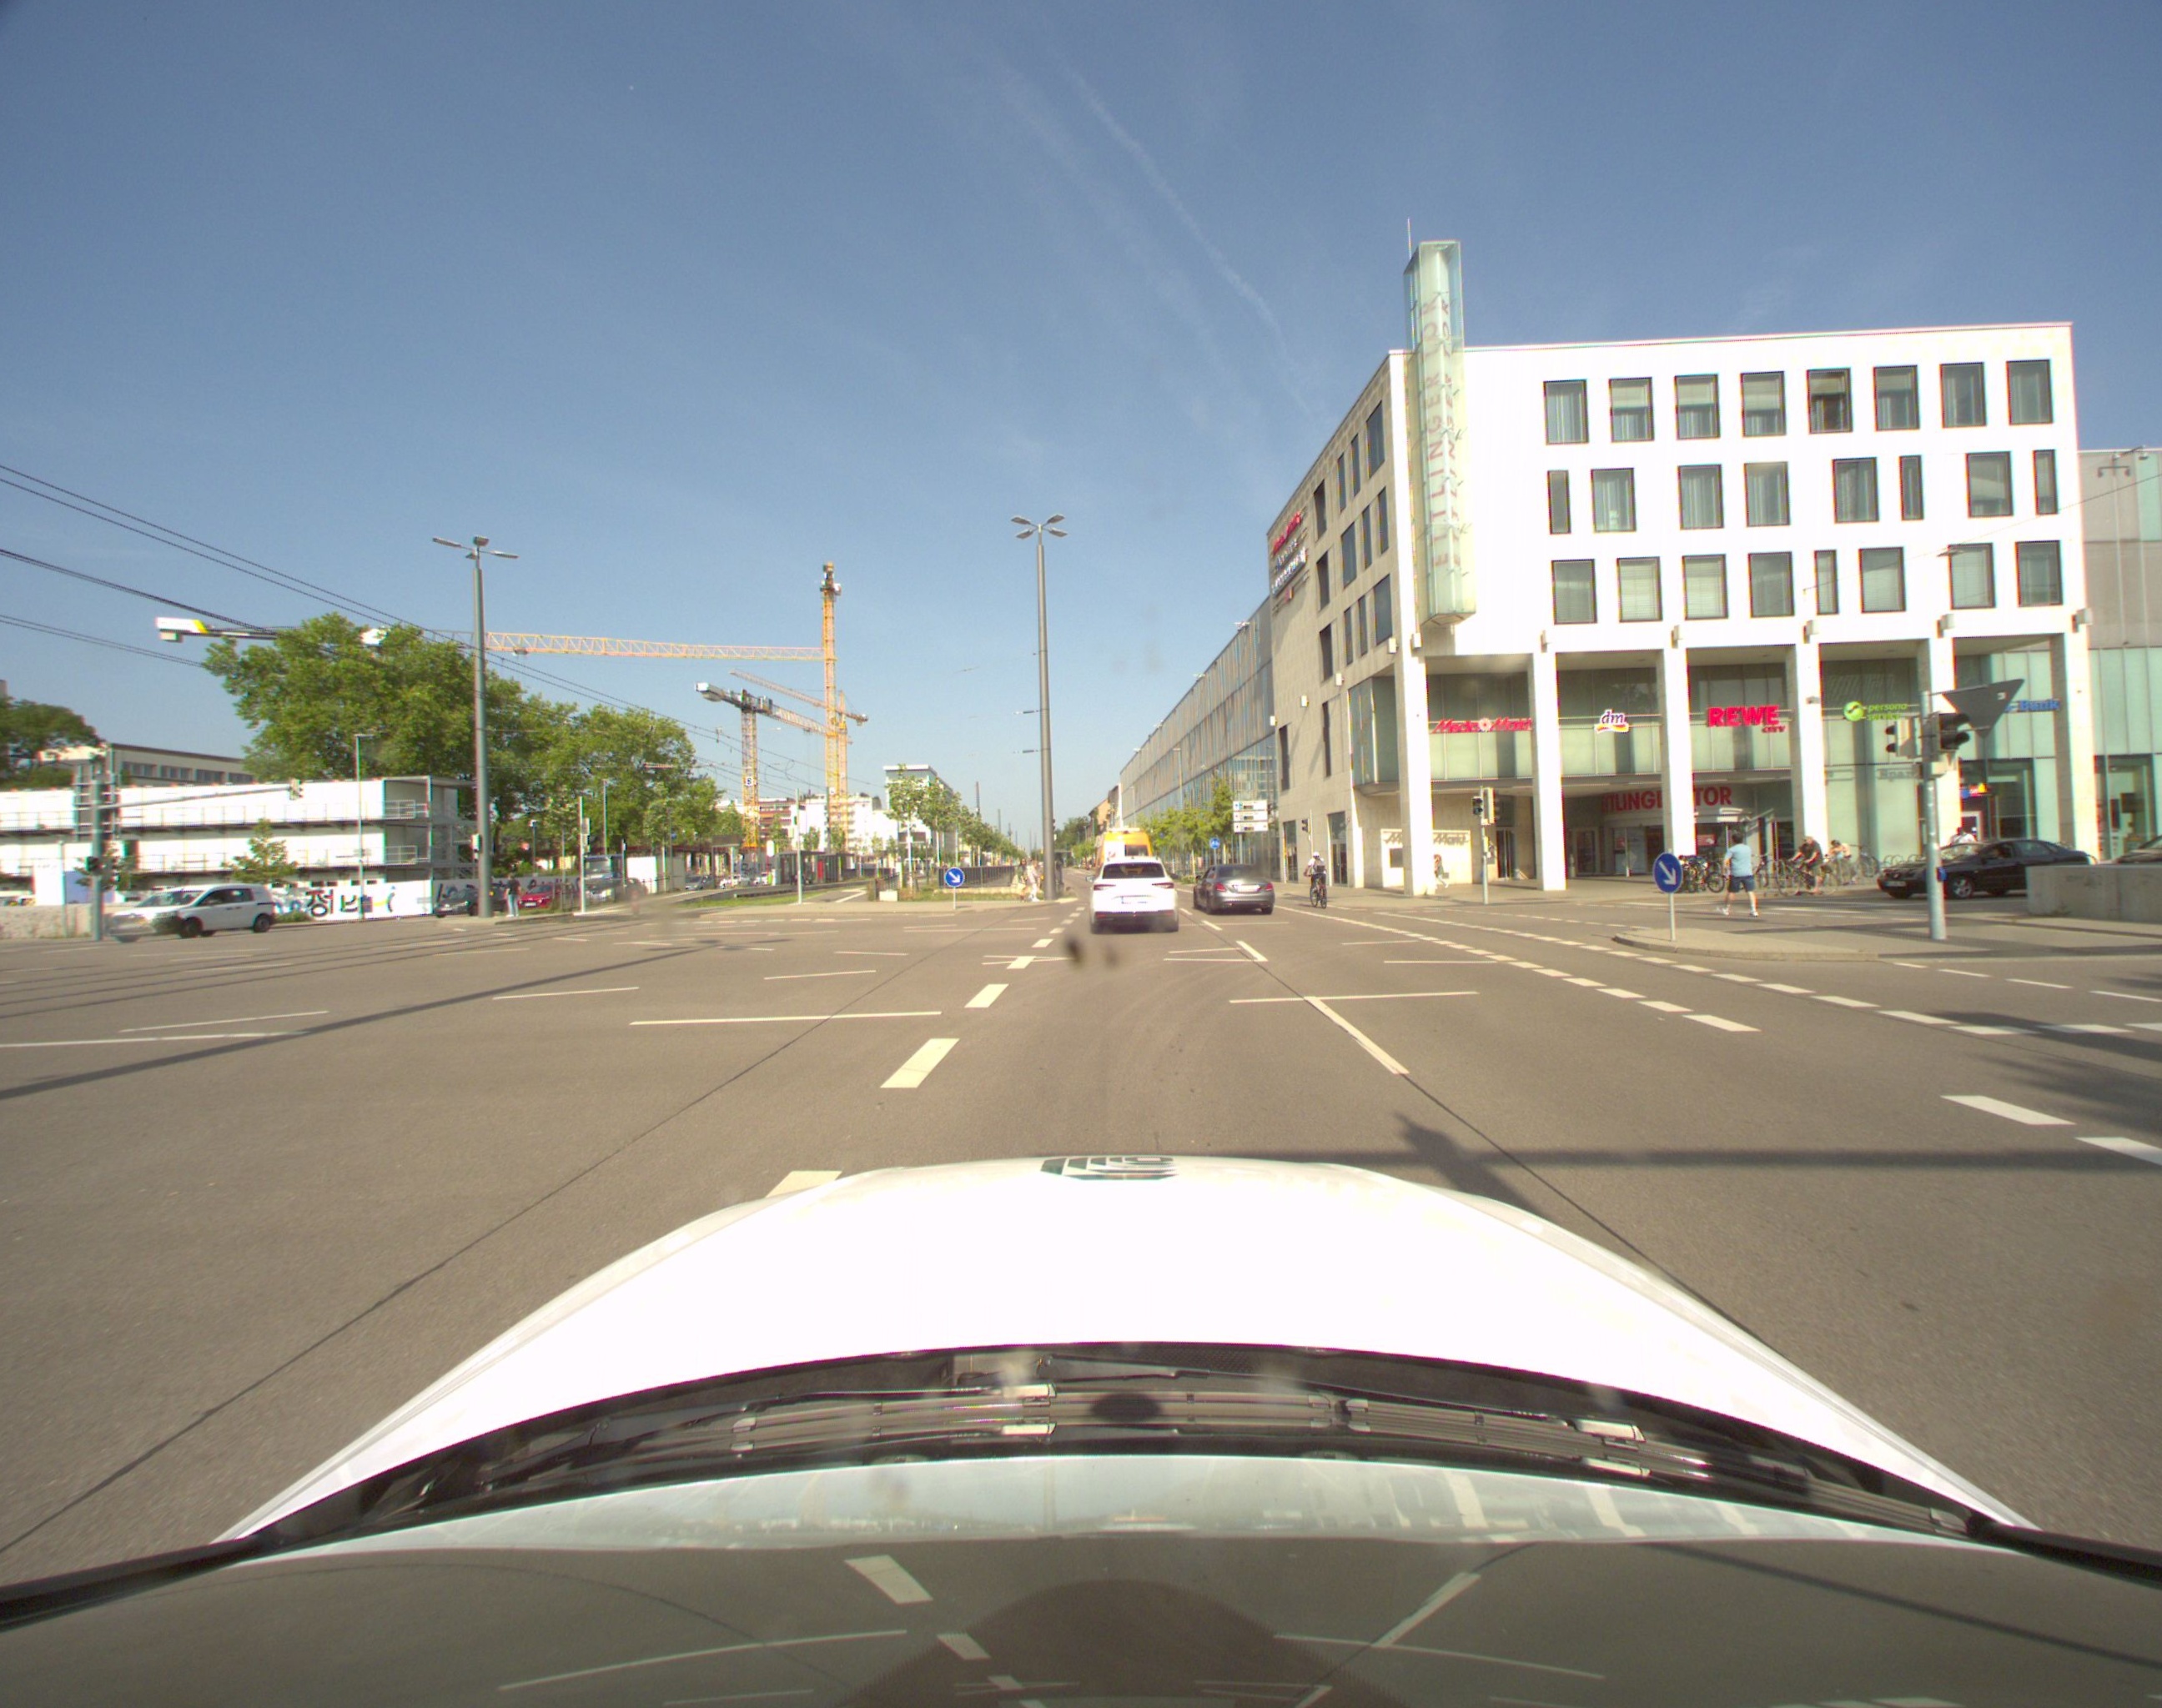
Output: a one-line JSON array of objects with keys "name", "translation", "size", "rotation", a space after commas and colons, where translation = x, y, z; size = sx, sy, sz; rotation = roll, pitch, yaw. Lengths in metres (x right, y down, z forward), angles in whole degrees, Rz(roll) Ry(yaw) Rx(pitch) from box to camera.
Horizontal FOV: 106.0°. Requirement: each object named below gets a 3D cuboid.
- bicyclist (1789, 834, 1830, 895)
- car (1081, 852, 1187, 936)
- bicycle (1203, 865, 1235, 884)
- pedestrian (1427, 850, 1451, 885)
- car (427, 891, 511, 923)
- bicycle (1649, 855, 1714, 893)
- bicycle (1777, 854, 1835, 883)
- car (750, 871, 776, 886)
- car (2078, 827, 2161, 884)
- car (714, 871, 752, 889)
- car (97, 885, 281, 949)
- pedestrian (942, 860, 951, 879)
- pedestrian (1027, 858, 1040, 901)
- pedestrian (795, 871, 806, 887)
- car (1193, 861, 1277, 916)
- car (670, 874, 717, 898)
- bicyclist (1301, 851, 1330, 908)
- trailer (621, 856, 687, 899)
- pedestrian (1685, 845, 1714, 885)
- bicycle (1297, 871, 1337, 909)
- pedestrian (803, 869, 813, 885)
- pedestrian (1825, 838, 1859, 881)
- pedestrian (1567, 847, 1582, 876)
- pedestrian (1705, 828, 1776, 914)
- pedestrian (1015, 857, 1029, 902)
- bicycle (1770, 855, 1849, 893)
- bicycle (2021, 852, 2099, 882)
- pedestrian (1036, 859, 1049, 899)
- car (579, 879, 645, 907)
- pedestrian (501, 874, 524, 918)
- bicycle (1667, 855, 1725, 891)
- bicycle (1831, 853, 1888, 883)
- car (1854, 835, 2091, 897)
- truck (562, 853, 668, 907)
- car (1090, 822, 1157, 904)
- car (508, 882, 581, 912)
[{"name": "bicyclist", "translation": [21.457, 0.303, 23.997], "size": [0.633, 1.738, 0.582], "rotation": [-2, -1, -3]}, {"name": "car", "translation": [1.040, 0.786, 17.833], "size": [1.865, 1.574, 3.996], "rotation": [-2, 0, -2]}, {"name": "bicycle", "translation": [8.581, 1.301, 50.661], "size": [1.873, 1.109, 0.490], "rotation": [-2, -1, -1]}, {"name": "pedestrian", "translation": [15.427, 0.585, 35.111], "size": [0.705, 1.487, 0.604], "rotation": [-2, -1, 0]}, {"name": "car", "translation": [-31.930, 2.747, 42.625], "size": [1.595, 1.347, 4.410], "rotation": [-2, 0, -9]}, {"name": "bicycle", "translation": [20.316, 0.664, 27.596], "size": [0.611, 1.237, 2.069], "rotation": [-2, -1, 0]}, {"name": "bicycle", "translation": [24.650, 0.482, 27.719], "size": [0.456, 0.956, 1.859], "rotation": [-2, -1, 7]}, {"name": "car", "translation": [-35.273, 2.710, 90.398], "size": [1.592, 1.463, 3.430], "rotation": [-2, -1, -2]}, {"name": "car", "translation": [28.577, -0.024, 20.771], "size": [3.886, 1.402, 1.879], "rotation": [-2, -1, 2]}, {"name": "car", "translation": [-34.604, 2.568, 81.167], "size": [1.786, 1.582, 4.615], "rotation": [-2, -1, 0]}, {"name": "car", "translation": [-29.668, 2.026, 27.326], "size": [1.615, 1.789, 4.506], "rotation": [-2, 0, -8]}, {"name": "pedestrian", "translation": [-11.637, 1.376, 70.487], "size": [0.734, 1.619, 0.710], "rotation": [-2, -1, -4]}, {"name": "pedestrian", "translation": [-1.888, 1.005, 32.460], "size": [0.466, 1.650, 0.776], "rotation": [-1, -1, -3]}, {"name": "pedestrian", "translation": [-22.541, 2.014, 65.374], "size": [0.679, 1.300, 0.591], "rotation": [-2, 0, -6]}, {"name": "car", "translation": [4.383, 0.934, 23.727], "size": [1.754, 1.436, 4.116], "rotation": [0, 0, 1]}, {"name": "car", "translation": [-29.409, 2.426, 61.972], "size": [1.716, 1.662, 4.146], "rotation": [-1, -1, -2]}, {"name": "bicyclist", "translation": [7.448, 0.792, 25.869], "size": [0.649, 1.749, 0.769], "rotation": [-2, -1, 0]}, {"name": "trailer", "translation": [-28.967, 1.538, 55.427], "size": [2.040, 2.781, 5.015], "rotation": [0, -1, -3]}, {"name": "pedestrian", "translation": [21.422, 0.379, 28.213], "size": [0.511, 1.356, 0.546], "rotation": [-2, -1, -9]}, {"name": "bicycle", "translation": [7.462, 1.111, 25.848], "size": [0.659, 1.117, 2.050], "rotation": [-2, 0, 0]}, {"name": "pedestrian", "translation": [-22.866, 1.926, 68.216], "size": [0.679, 1.300, 0.591], "rotation": [-2, 0, -6]}, {"name": "pedestrian", "translation": [26.833, 0.185, 28.718], "size": [0.605, 1.485, 0.731], "rotation": [-1, -1, -33]}, {"name": "pedestrian", "translation": [23.537, 0.367, 38.816], "size": [0.391, 1.341, 0.455], "rotation": [-2, -1, -3]}, {"name": "pedestrian", "translation": [13.622, 0.345, 16.848], "size": [0.639, 1.711, 0.991], "rotation": [-2, -1, 5]}, {"name": "pedestrian", "translation": [-2.203, 0.930, 30.282], "size": [0.466, 1.650, 0.776], "rotation": [-1, -1, -3]}, {"name": "bicycle", "translation": [21.450, 0.584, 24.000], "size": [1.797, 1.017, 0.611], "rotation": [-2, -1, -3]}, {"name": "bicycle", "translation": [32.749, 0.434, 27.281], "size": [0.457, 0.956, 1.714], "rotation": [-2, -1, -3]}, {"name": "pedestrian", "translation": [-1.596, 1.035, 33.858], "size": [0.466, 1.650, 0.776], "rotation": [-1, -1, -3]}, {"name": "car", "translation": [-28.441, 2.359, 49.547], "size": [1.639, 1.469, 4.397], "rotation": [-2, 0, -4]}, {"name": "pedestrian", "translation": [-22.424, 1.650, 32.127], "size": [0.367, 1.676, 0.642], "rotation": [-2, -1, 14]}, {"name": "bicycle", "translation": [20.957, 0.638, 27.805], "size": [0.499, 1.199, 1.790], "rotation": [-2, -1, -4]}, {"name": "bicycle", "translation": [26.374, 0.471, 27.630], "size": [0.456, 0.956, 1.673], "rotation": [-2, -1, 7]}, {"name": "car", "translation": [22.507, 0.313, 20.691], "size": [3.878, 1.366, 1.878], "rotation": [-2, -2, 1]}, {"name": "truck", "translation": [-33.712, 1.771, 59.465], "size": [3.015, 3.586, 8.878], "rotation": [-2, 0, -4]}, {"name": "car", "translation": [1.511, 0.319, 31.121], "size": [2.015, 2.796, 5.395], "rotation": [-2, 0, -2]}, {"name": "car", "translation": [-28.336, 2.229, 43.119], "size": [1.719, 1.361, 3.689], "rotation": [-1, -1, -7]}]
